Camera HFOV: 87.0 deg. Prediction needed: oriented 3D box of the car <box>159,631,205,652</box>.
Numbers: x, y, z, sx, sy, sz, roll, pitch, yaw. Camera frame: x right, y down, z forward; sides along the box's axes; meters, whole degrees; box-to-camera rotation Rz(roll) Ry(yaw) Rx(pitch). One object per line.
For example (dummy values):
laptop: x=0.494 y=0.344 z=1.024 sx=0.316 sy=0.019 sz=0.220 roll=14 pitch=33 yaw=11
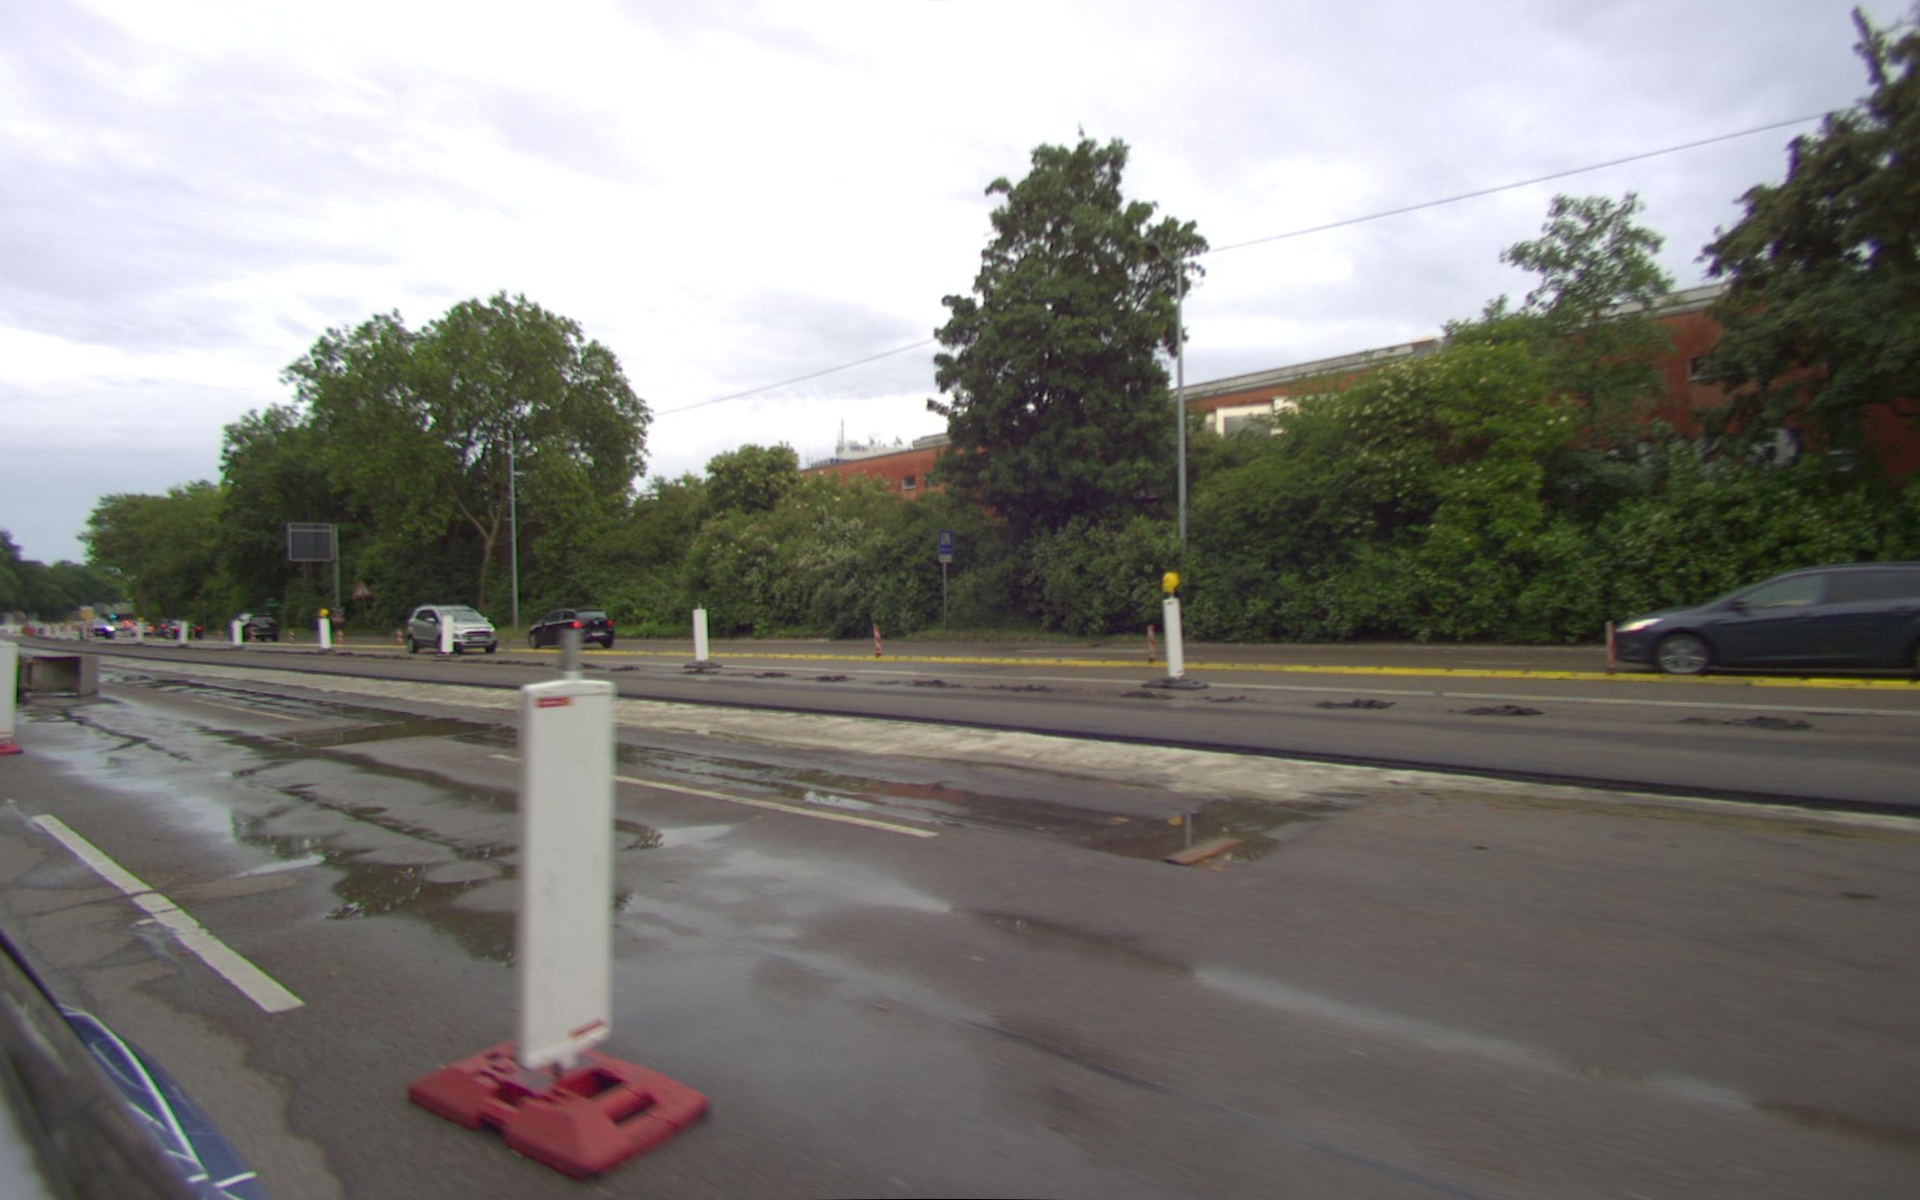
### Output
car: x=-58.514 y=3.121 z=76.074 sx=4.897 sy=1.495 sz=1.742 roll=-2 pitch=-1 yaw=41

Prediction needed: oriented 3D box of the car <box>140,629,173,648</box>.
car: x=-74.789 y=3.570 z=94.161 sx=4.531 sy=1.698 sz=1.636 roll=-2 pitch=0 yaw=41

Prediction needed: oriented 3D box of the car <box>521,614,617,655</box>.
car: x=-13.922 y=1.224 z=35.955 sx=3.856 sy=1.342 sz=1.434 roll=-2 pitch=-1 yaw=39

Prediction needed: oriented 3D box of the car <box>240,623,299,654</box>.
car: x=-40.469 y=2.239 z=59.286 sx=4.491 sy=1.735 sz=1.717 roll=-2 pitch=0 yaw=41

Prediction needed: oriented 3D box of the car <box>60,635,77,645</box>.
car: x=-158.395 y=7.094 z=179.765 sx=4.914 sy=1.676 sz=1.757 roll=-2 pitch=-3 yaw=42

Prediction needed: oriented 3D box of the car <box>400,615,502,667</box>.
car: x=-17.071 y=1.354 z=33.887 sx=3.860 sy=1.596 sz=1.770 roll=-2 pitch=-1 yaw=42

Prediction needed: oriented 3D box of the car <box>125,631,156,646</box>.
car: x=-87.446 y=4.127 z=107.996 sx=4.600 sy=1.430 sz=1.799 roll=-2 pitch=0 yaw=41

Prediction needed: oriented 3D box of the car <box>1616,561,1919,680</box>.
car: x=11.291 y=0.254 z=13.284 sx=4.317 sy=1.426 sz=1.653 roll=-2 pitch=0 yaw=40
